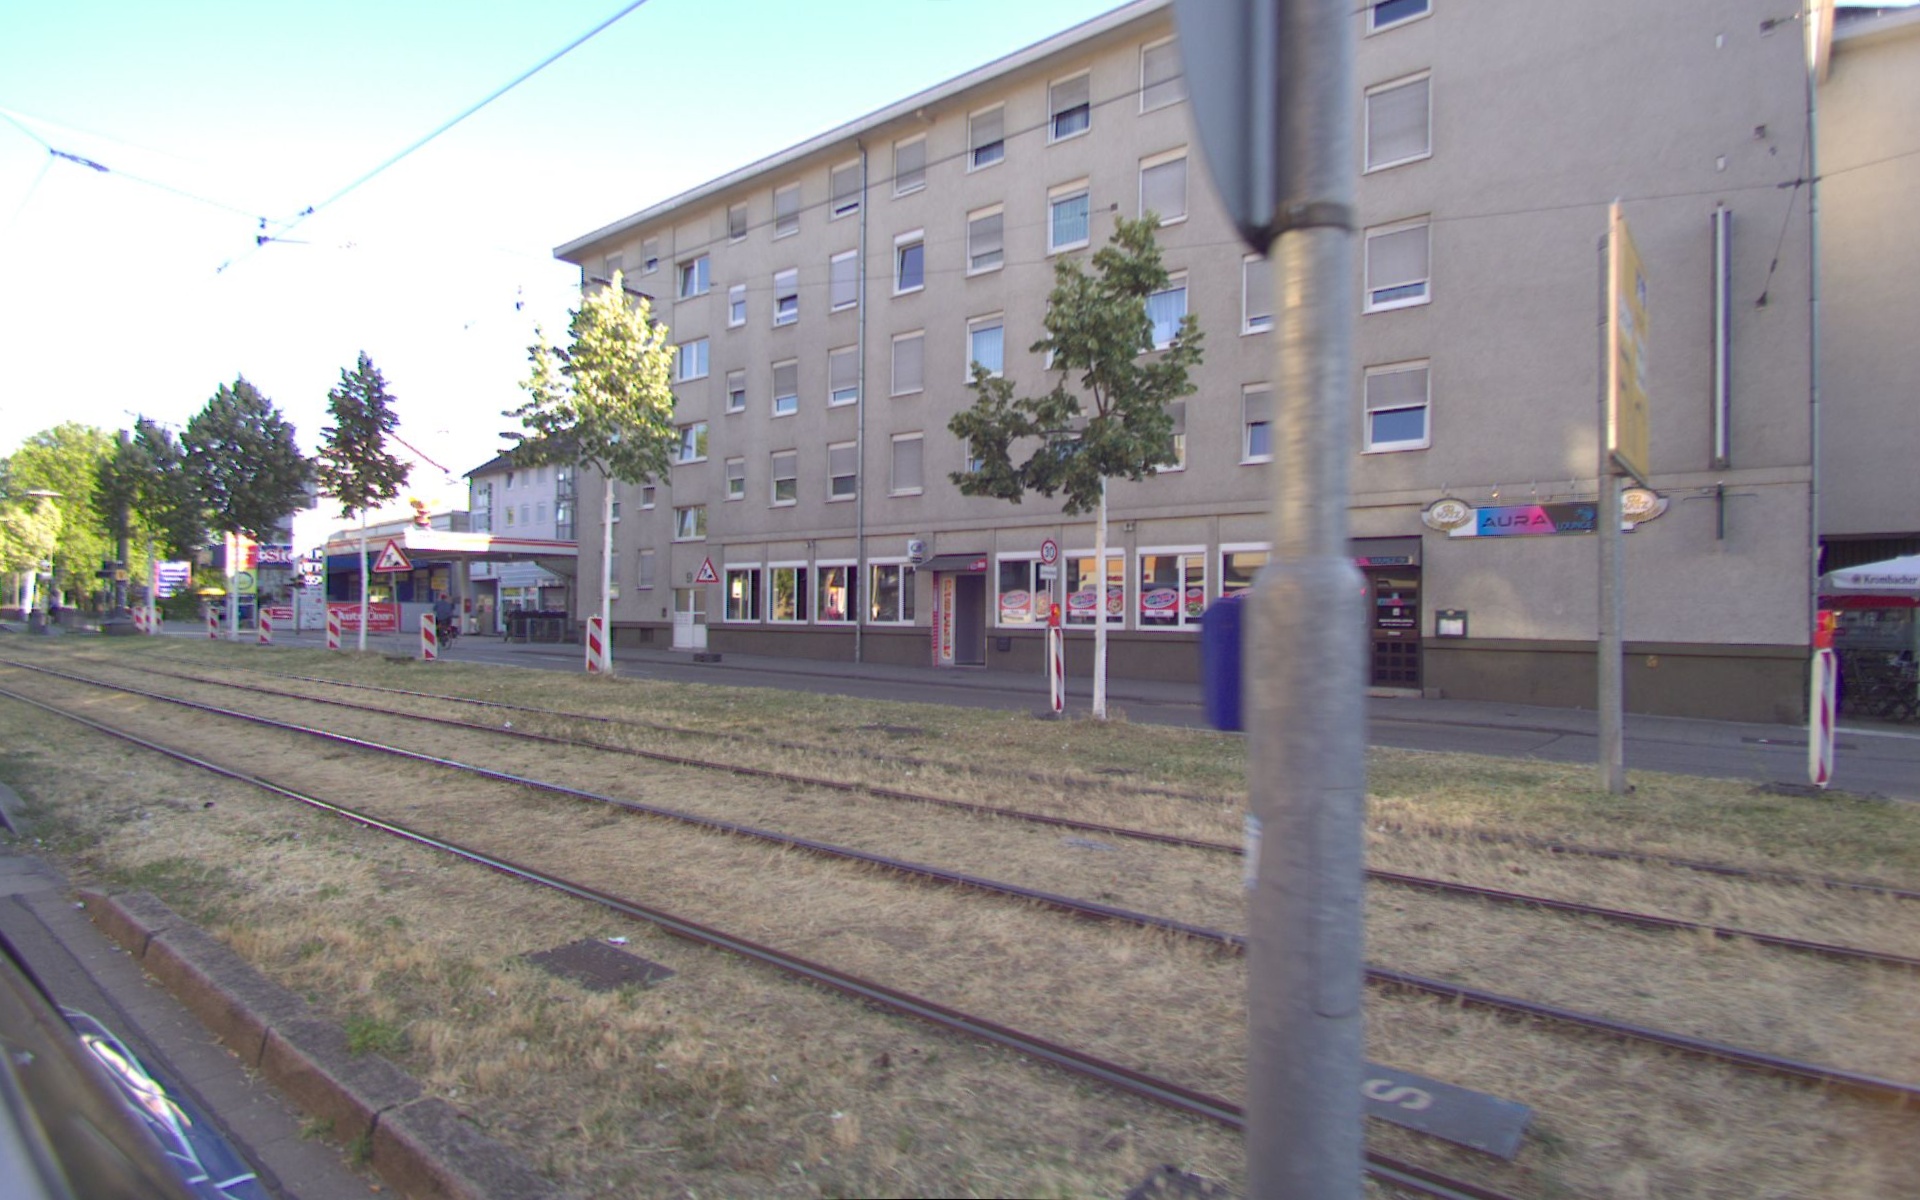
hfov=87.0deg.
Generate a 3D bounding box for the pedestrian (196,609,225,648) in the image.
[{"bbox_3d":[-25.225,0.956,34.070,0.580,1.280,0.655,-1,-1,40],"label":"pedestrian"}]

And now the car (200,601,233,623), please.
[{"bbox_3d":[-57.980,0.901,78.898,1.756,1.567,4.005,0,1,-42],"label":"car"}]

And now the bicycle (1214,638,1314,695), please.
[{"bbox_3d":[6.111,1.311,20.374,1.843,1.031,0.602,0,0,40],"label":"bicycle"}]

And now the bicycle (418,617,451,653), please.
[{"bbox_3d":[-18.818,1.252,36.217,1.870,1.267,0.450,-1,-2,42],"label":"bicycle"}]

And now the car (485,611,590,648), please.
[{"bbox_3d":[-17.942,1.269,43.122,1.905,1.481,3.682,-3,-3,38],"label":"car"}]

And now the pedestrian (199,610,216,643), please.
[{"bbox_3d":[-48.411,1.702,65.089,0.583,2.028,0.624,0,4,40],"label":"pedestrian"}]

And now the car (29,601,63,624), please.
[{"bbox_3d":[-75.835,1.005,83.951,1.970,1.748,4.397,-1,1,-44],"label":"car"}]

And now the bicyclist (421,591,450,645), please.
[{"bbox_3d":[-18.769,0.654,36.215,0.809,1.897,0.644,-1,-2,42],"label":"bicyclist"}]
